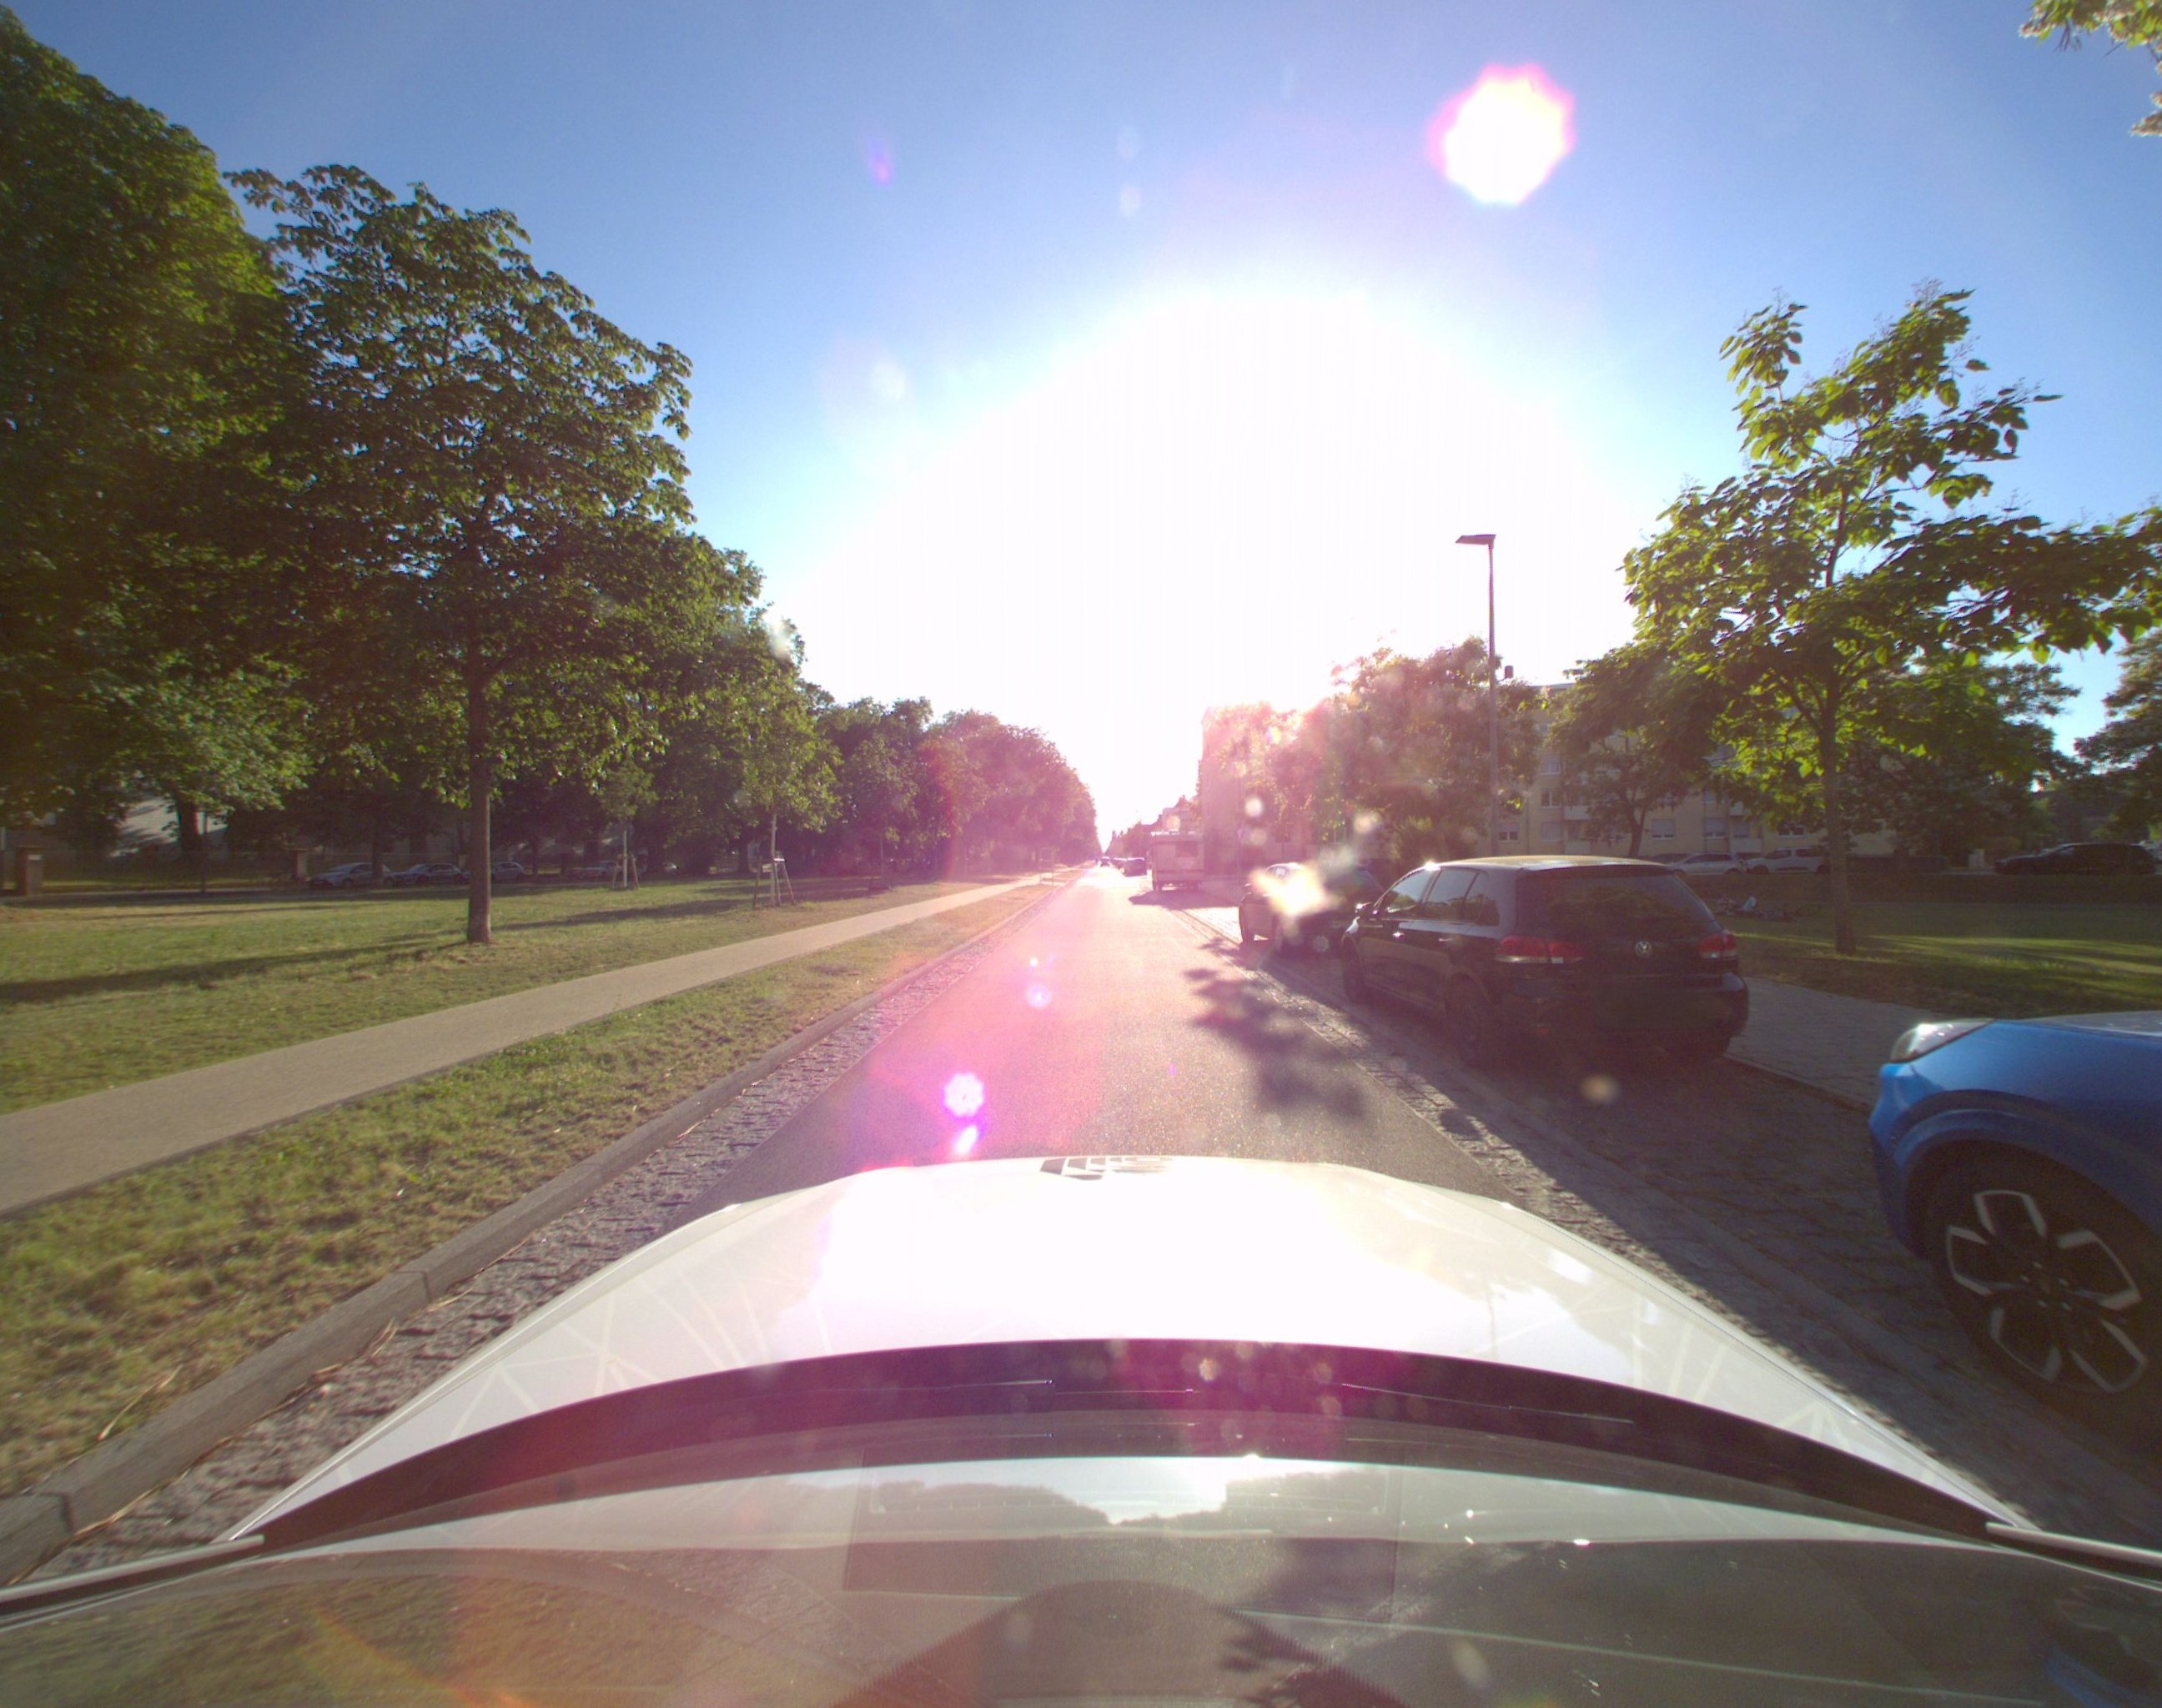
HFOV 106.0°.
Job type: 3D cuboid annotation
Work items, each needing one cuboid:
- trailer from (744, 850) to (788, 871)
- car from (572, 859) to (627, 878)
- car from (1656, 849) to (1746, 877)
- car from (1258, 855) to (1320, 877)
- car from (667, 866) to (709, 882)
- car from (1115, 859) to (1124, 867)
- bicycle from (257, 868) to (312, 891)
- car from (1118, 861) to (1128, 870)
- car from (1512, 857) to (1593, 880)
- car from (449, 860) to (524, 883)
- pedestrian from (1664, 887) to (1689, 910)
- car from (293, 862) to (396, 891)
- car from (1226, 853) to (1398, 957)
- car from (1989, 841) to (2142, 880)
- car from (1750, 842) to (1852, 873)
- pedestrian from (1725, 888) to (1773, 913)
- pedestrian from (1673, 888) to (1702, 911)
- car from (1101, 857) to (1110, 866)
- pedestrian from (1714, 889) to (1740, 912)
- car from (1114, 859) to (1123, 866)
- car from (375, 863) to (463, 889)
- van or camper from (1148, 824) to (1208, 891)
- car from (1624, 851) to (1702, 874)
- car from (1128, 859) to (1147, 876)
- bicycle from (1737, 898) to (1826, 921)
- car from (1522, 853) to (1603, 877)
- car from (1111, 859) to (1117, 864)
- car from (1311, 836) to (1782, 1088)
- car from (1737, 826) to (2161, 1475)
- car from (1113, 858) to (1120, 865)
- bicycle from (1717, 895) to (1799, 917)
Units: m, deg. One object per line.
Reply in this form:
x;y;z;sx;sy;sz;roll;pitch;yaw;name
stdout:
-38.913;0.818;100.923;2.449;2.489;7.053;-1;-1;2;trailer
-39.911;1.214;67.610;1.985;1.508;4.117;-1;-1;2;car
35.915;0.529;47.284;3.949;1.552;1.620;-1;-1;29;car
15.375;0.906;60.291;4.174;1.530;2.003;-1;-1;5;car
-39.570;1.972;82.099;1.985;1.508;4.117;-1;-1;2;car
6.858;1.605;145.219;1.620;1.410;4.250;-1;-1;1;car
-42.503;1.360;43.479;0.655;1.175;2.332;-1;-1;-1;bicycle
6.886;1.821;133.391;1.620;1.410;4.250;-1;-1;1;car
29.244;0.927;50.652;4.158;1.357;1.702;-1;-1;22;car
-40.292;1.165;55.305;1.985;1.508;4.117;-1;-1;2;car
21.873;1.637;29.922;0.470;0.812;0.612;0;0;3;pedestrian
-40.693;1.194;45.138;1.985;1.508;4.002;-1;-1;2;car
3.730;0.767;13.909;1.622;1.464;4.246;-1;-1;-2;car
47.014;0.352;39.067;1.891;1.746;4.470;0;-1;-45;car
43.733;0.223;49.628;4.467;1.746;1.892;-2;-1;36;car
23.647;1.640;28.851;0.577;0.812;1.244;1;-1;-43;pedestrian
22.922;1.721;30.793;0.608;0.812;0.724;0;0;3;pedestrian
4.814;1.549;160.148;1.819;1.669;4.250;-1;-1;1;car
23.766;1.716;29.963;0.470;0.812;0.612;0;0;3;pedestrian
7.619;1.722;164.509;1.620;1.410;4.250;-1;-1;1;car
-40.511;1.315;49.978;1.985;1.508;4.002;-1;-1;2;car
4.503;0.242;38.718;2.226;2.904;5.673;-1;-2;1;van or camper
37.835;0.556;53.082;3.949;1.453;1.892;-1;-1;30;car
5.489;1.316;79.915;1.620;1.669;4.250;-1;-1;1;car
22.404;1.772;26.117;1.749;0.615;1.822;-1;-1;26;bicycle
32.956;0.752;55.836;4.473;1.569;1.890;-1;-1;20;car
9.498;2.153;233.366;1.620;1.410;4.250;-1;-1;1;car
3.547;0.705;7.326;1.726;1.551;4.422;-1;-1;0;car
3.390;0.684;1.073;1.725;1.551;4.278;-1;-1;3;car
7.875;1.699;181.270;1.620;1.410;4.250;-1;-1;1;car
22.774;1.736;27.477;1.749;0.615;1.822;-1;-1;26;bicycle
